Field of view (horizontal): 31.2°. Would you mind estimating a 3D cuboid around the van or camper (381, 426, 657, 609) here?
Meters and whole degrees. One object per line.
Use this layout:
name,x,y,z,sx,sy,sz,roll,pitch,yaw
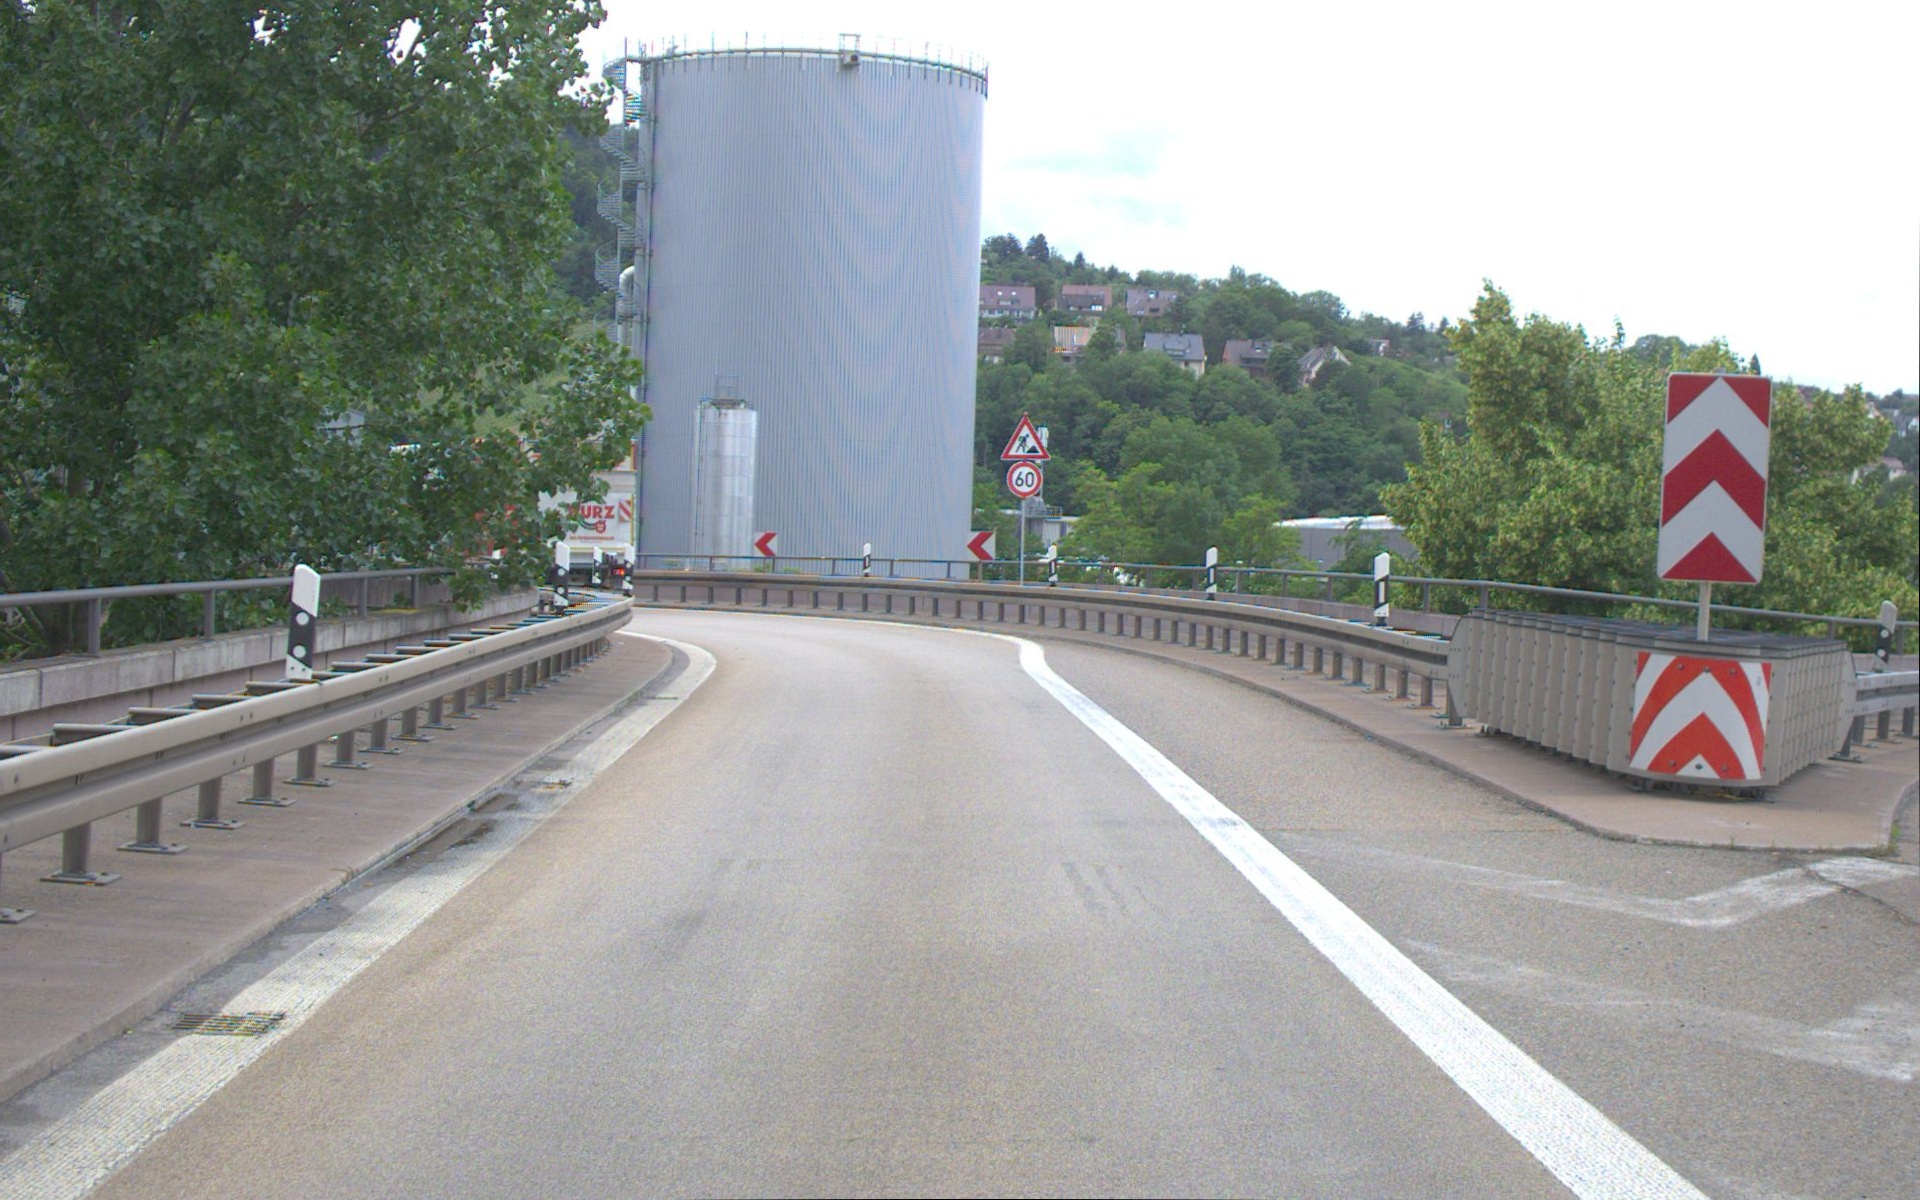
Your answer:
van or camper,-9.336,-1.710,71.762,3.121,3.567,8.552,0,1,-26
